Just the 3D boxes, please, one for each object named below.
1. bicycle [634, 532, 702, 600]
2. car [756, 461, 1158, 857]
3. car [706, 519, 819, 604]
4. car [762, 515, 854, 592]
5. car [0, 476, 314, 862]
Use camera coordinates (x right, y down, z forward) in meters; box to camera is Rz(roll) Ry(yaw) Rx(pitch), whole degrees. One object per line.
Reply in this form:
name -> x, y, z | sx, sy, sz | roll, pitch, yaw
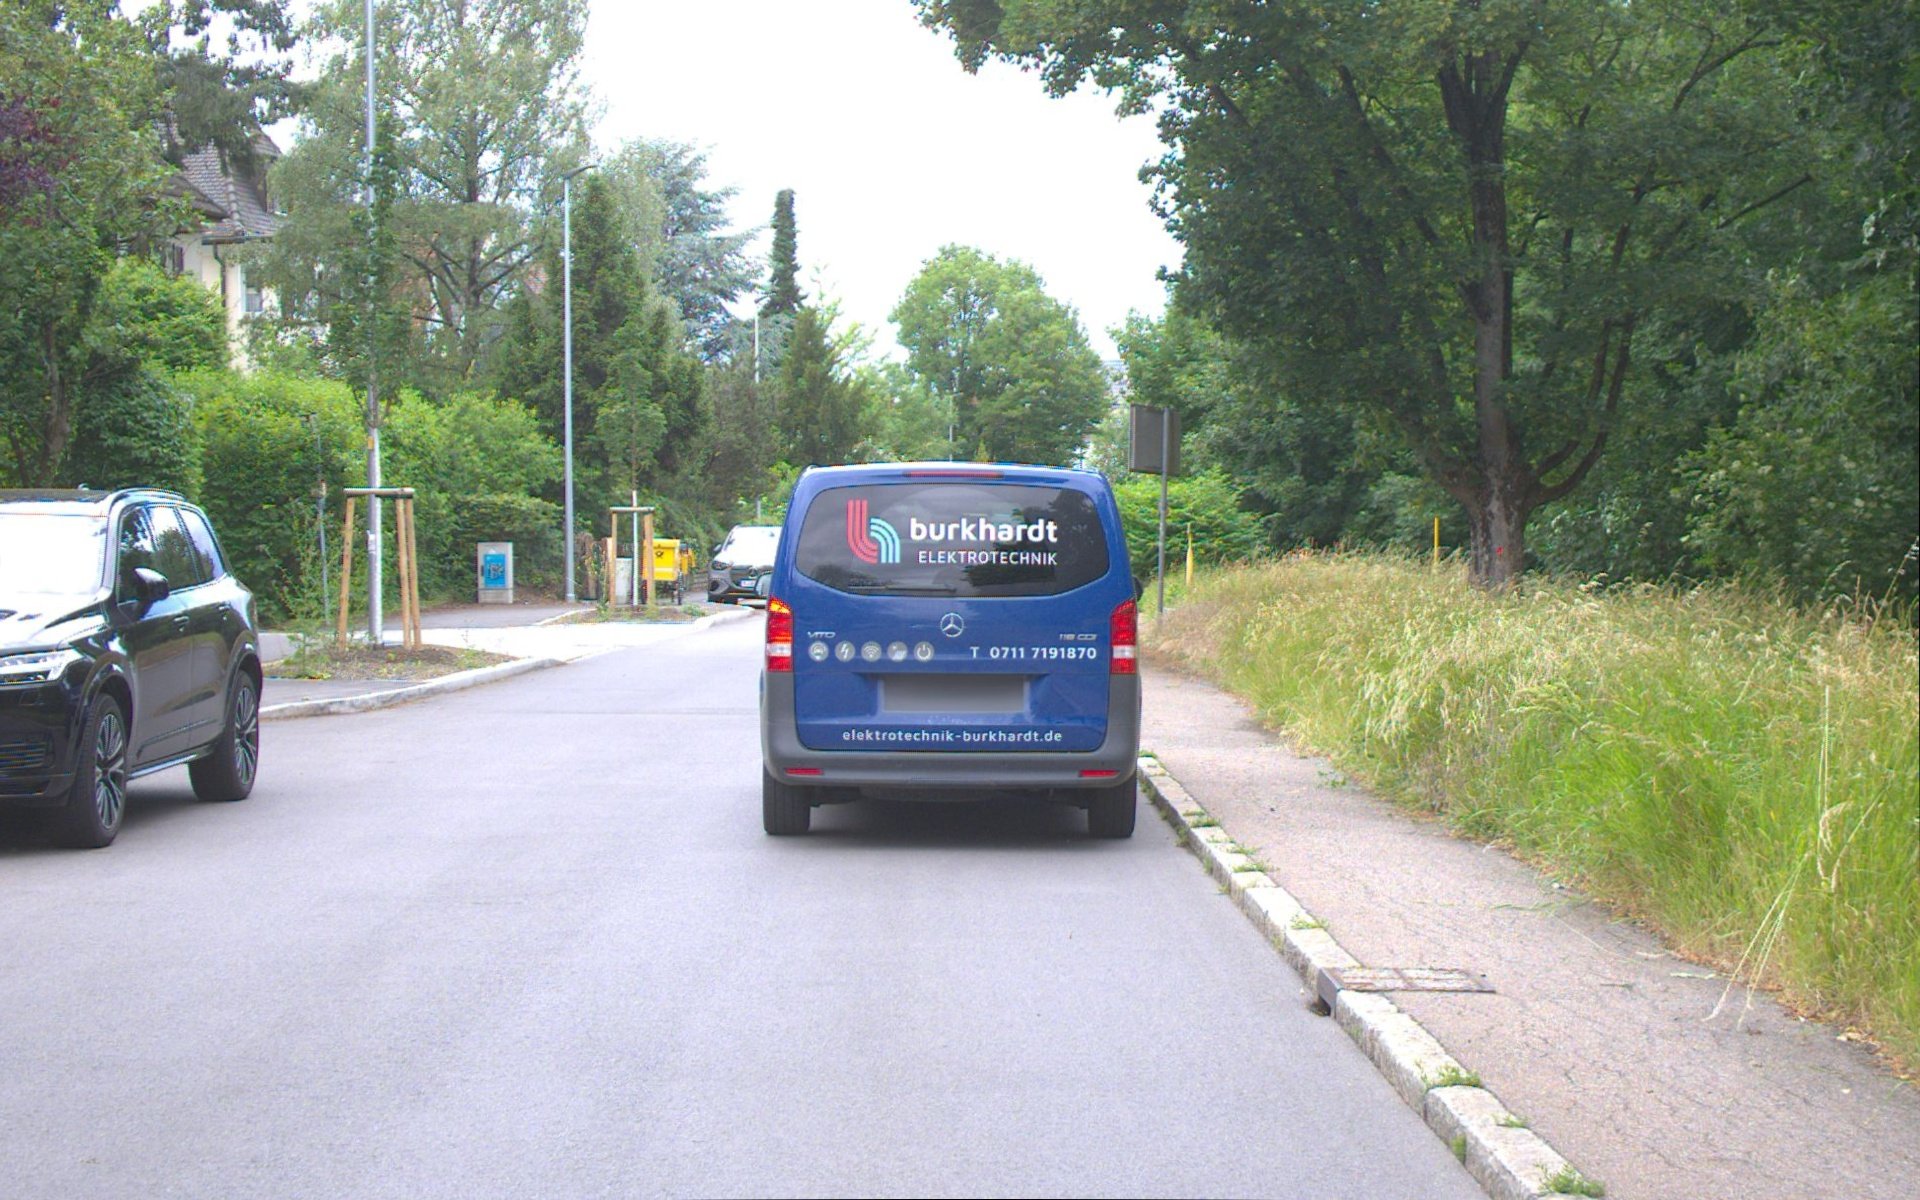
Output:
bicycle -> -5.620, -0.670, 66.430 | 0.906, 1.247, 2.916 | 2, 1, 2
car -> -0.088, 0.196, 18.211 | 1.888, 1.837, 4.001 | 0, 3, -2
car -> -3.941, -0.795, 69.304 | 1.836, 1.625, 4.300 | 1, 1, 2
car -> -3.605, -1.128, 82.199 | 1.832, 1.745, 4.000 | 1, 2, 2
car -> -4.941, 0.242, 18.047 | 1.974, 1.731, 5.189 | 1, 1, 2
